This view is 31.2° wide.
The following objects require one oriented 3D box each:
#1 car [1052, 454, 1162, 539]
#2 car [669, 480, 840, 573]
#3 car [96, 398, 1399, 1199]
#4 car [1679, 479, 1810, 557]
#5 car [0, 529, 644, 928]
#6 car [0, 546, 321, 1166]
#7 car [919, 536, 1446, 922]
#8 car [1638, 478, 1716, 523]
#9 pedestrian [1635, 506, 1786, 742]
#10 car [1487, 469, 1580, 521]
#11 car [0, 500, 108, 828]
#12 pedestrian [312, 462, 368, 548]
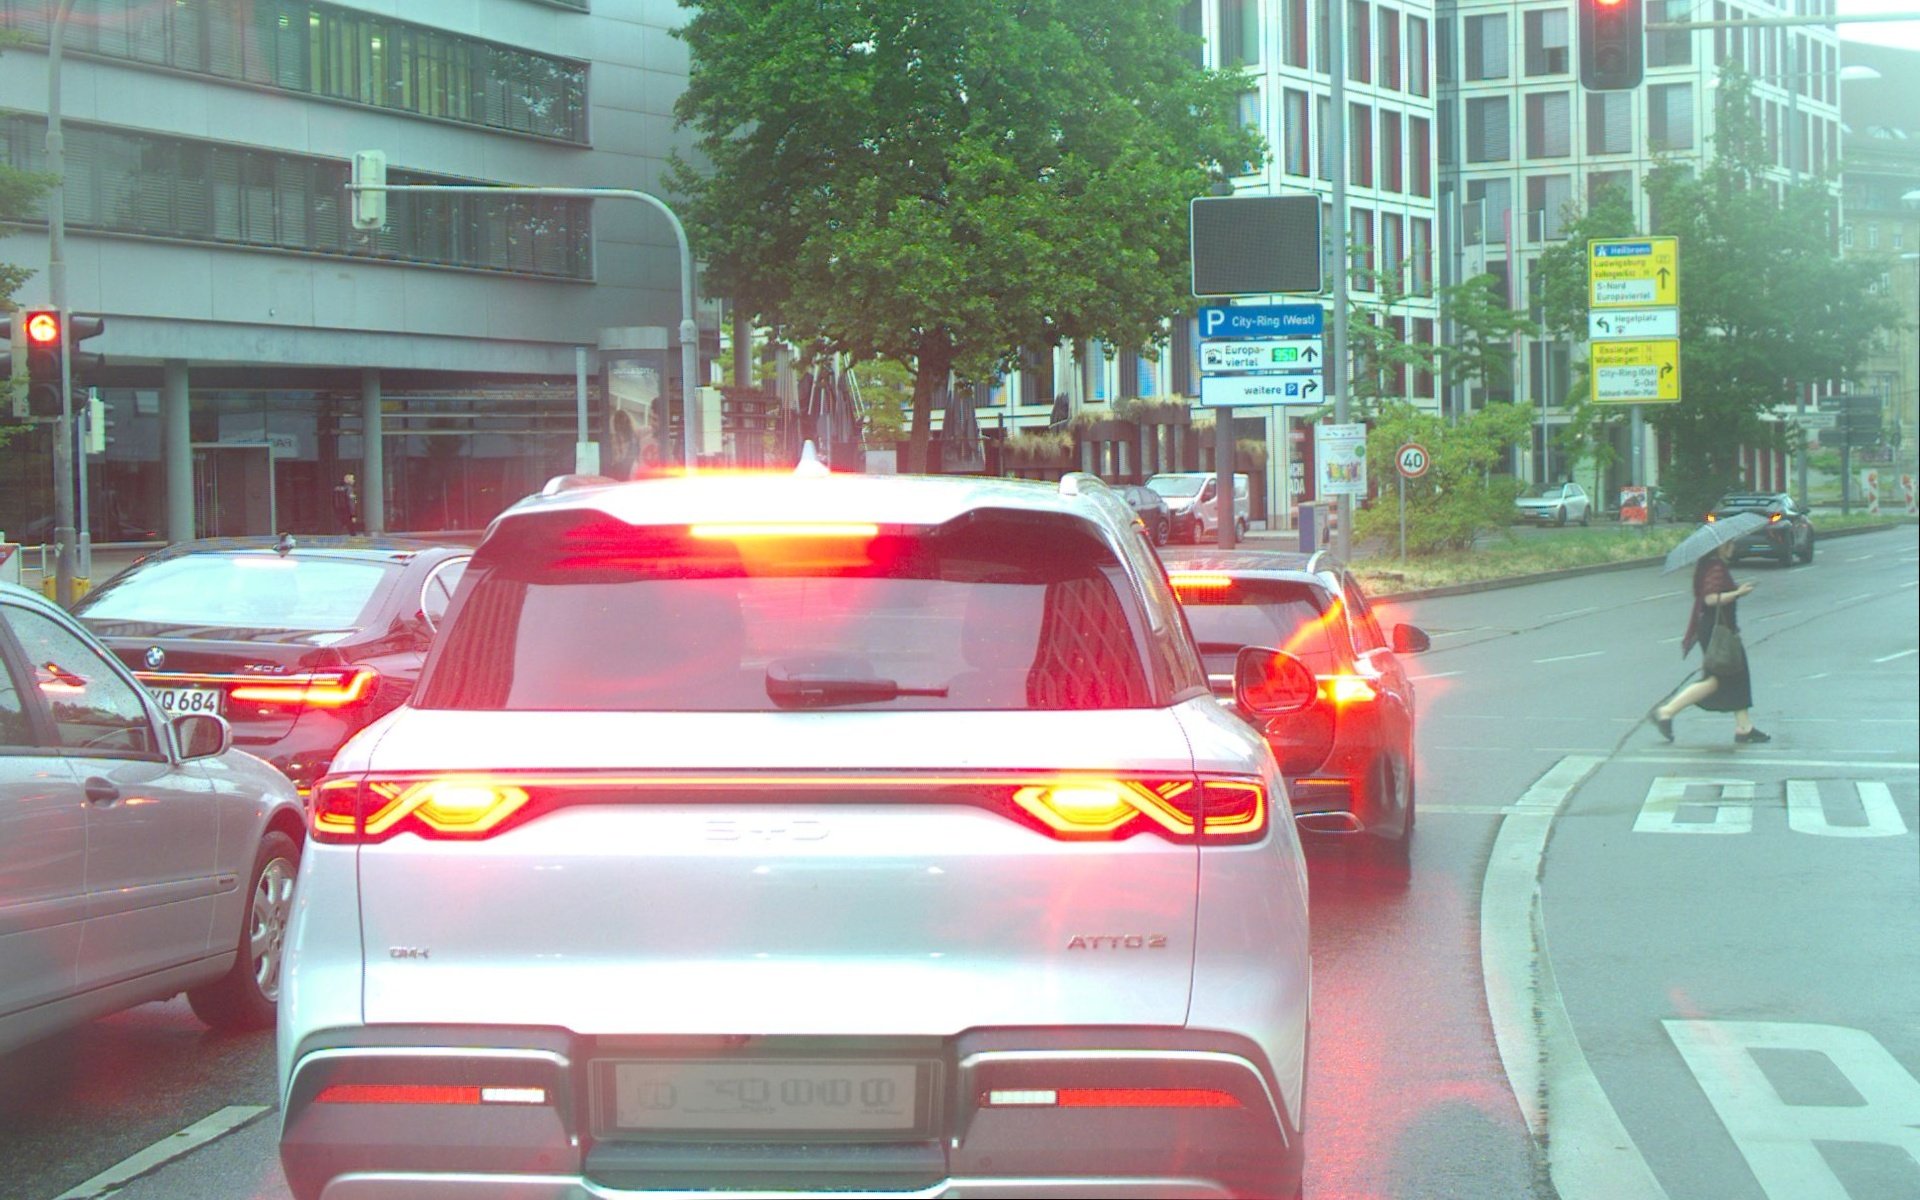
[{"bbox_3d":[3.901,-2.698,90.419,1.739,2.154,4.490,1,1,18],"label":"car"},{"bbox_3d":[-4.015,-1.481,67.802,1.995,1.700,3.997,1,3,19],"label":"car"},{"bbox_3d":[-0.275,0.499,7.564,1.993,1.703,4.483,-1,2,1],"label":"car"},{"bbox_3d":[16.345,-1.706,71.508,1.996,1.546,3.996,2,2,22],"label":"car"},{"bbox_3d":[-2.910,0.451,15.394,1.956,1.525,3.998,0,1,11],"label":"car"},{"bbox_3d":[-3.112,0.623,8.979,1.682,1.481,4.196,0,1,6],"label":"car"},{"bbox_3d":[1.164,0.476,15.894,1.956,1.525,3.998,0,1,11],"label":"car"},{"bbox_3d":[28.851,-4.008,138.293,1.996,1.700,4.303,1,3,27],"label":"car"},{"bbox_3d":[5.609,0.166,25.729,0.921,1.732,0.730,0,1,-5],"label":"pedestrian"},{"bbox_3d":[19.963,-3.665,119.523,1.996,1.700,4.303,1,3,27],"label":"car"},{"bbox_3d":[-5.734,0.320,16.027,1.886,1.590,3.998,0,1,12],"label":"car"},{"bbox_3d":[-12.522,-1.914,69.456,0.728,1.721,0.924,0,1,21],"label":"pedestrian"}]
